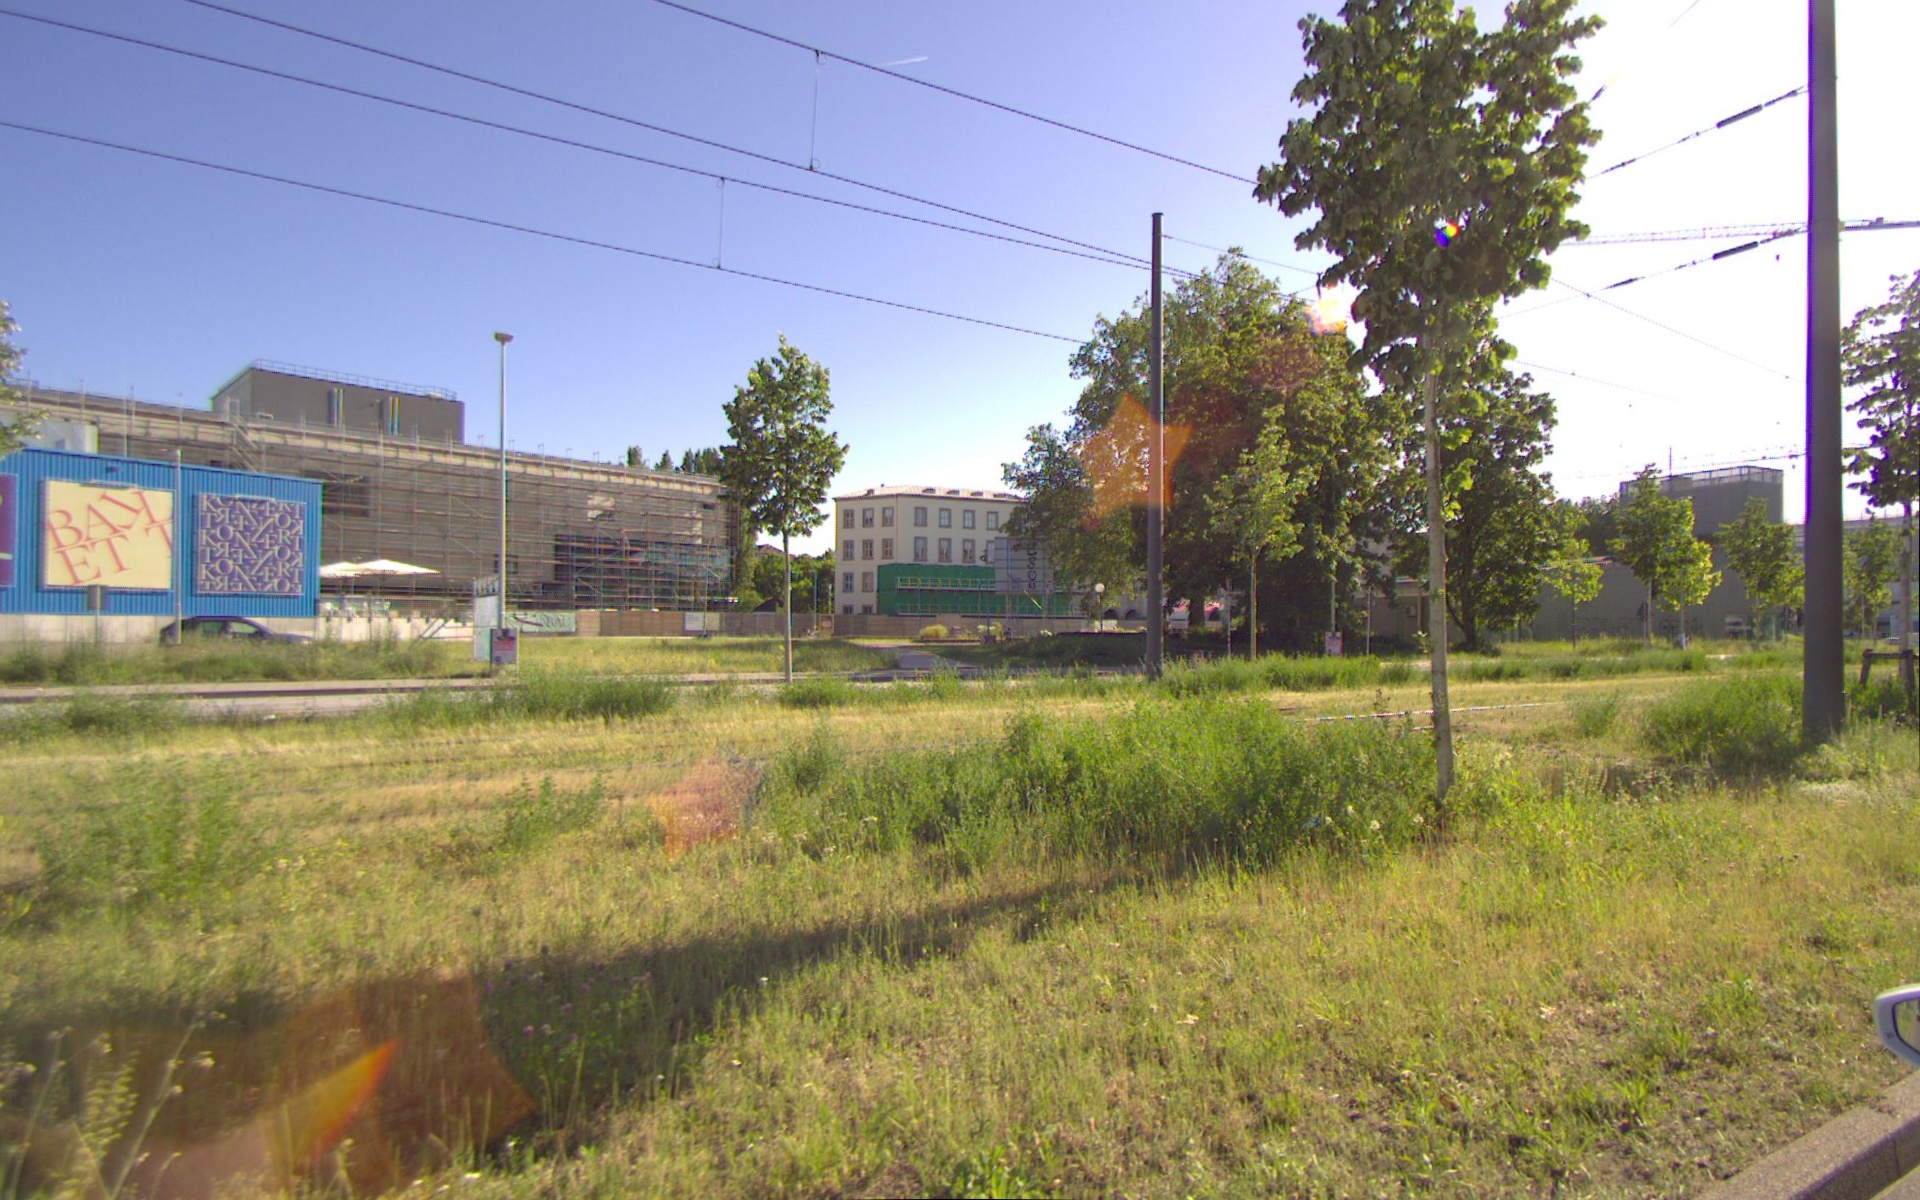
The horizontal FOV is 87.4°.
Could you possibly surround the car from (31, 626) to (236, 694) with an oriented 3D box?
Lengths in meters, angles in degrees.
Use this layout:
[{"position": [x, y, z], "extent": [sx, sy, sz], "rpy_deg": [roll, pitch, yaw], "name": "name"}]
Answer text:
[{"position": [-20.998, 1.516, 25.712], "extent": [3.815, 1.556, 1.549], "rpy_deg": [2, 0, -32], "name": "car"}]
